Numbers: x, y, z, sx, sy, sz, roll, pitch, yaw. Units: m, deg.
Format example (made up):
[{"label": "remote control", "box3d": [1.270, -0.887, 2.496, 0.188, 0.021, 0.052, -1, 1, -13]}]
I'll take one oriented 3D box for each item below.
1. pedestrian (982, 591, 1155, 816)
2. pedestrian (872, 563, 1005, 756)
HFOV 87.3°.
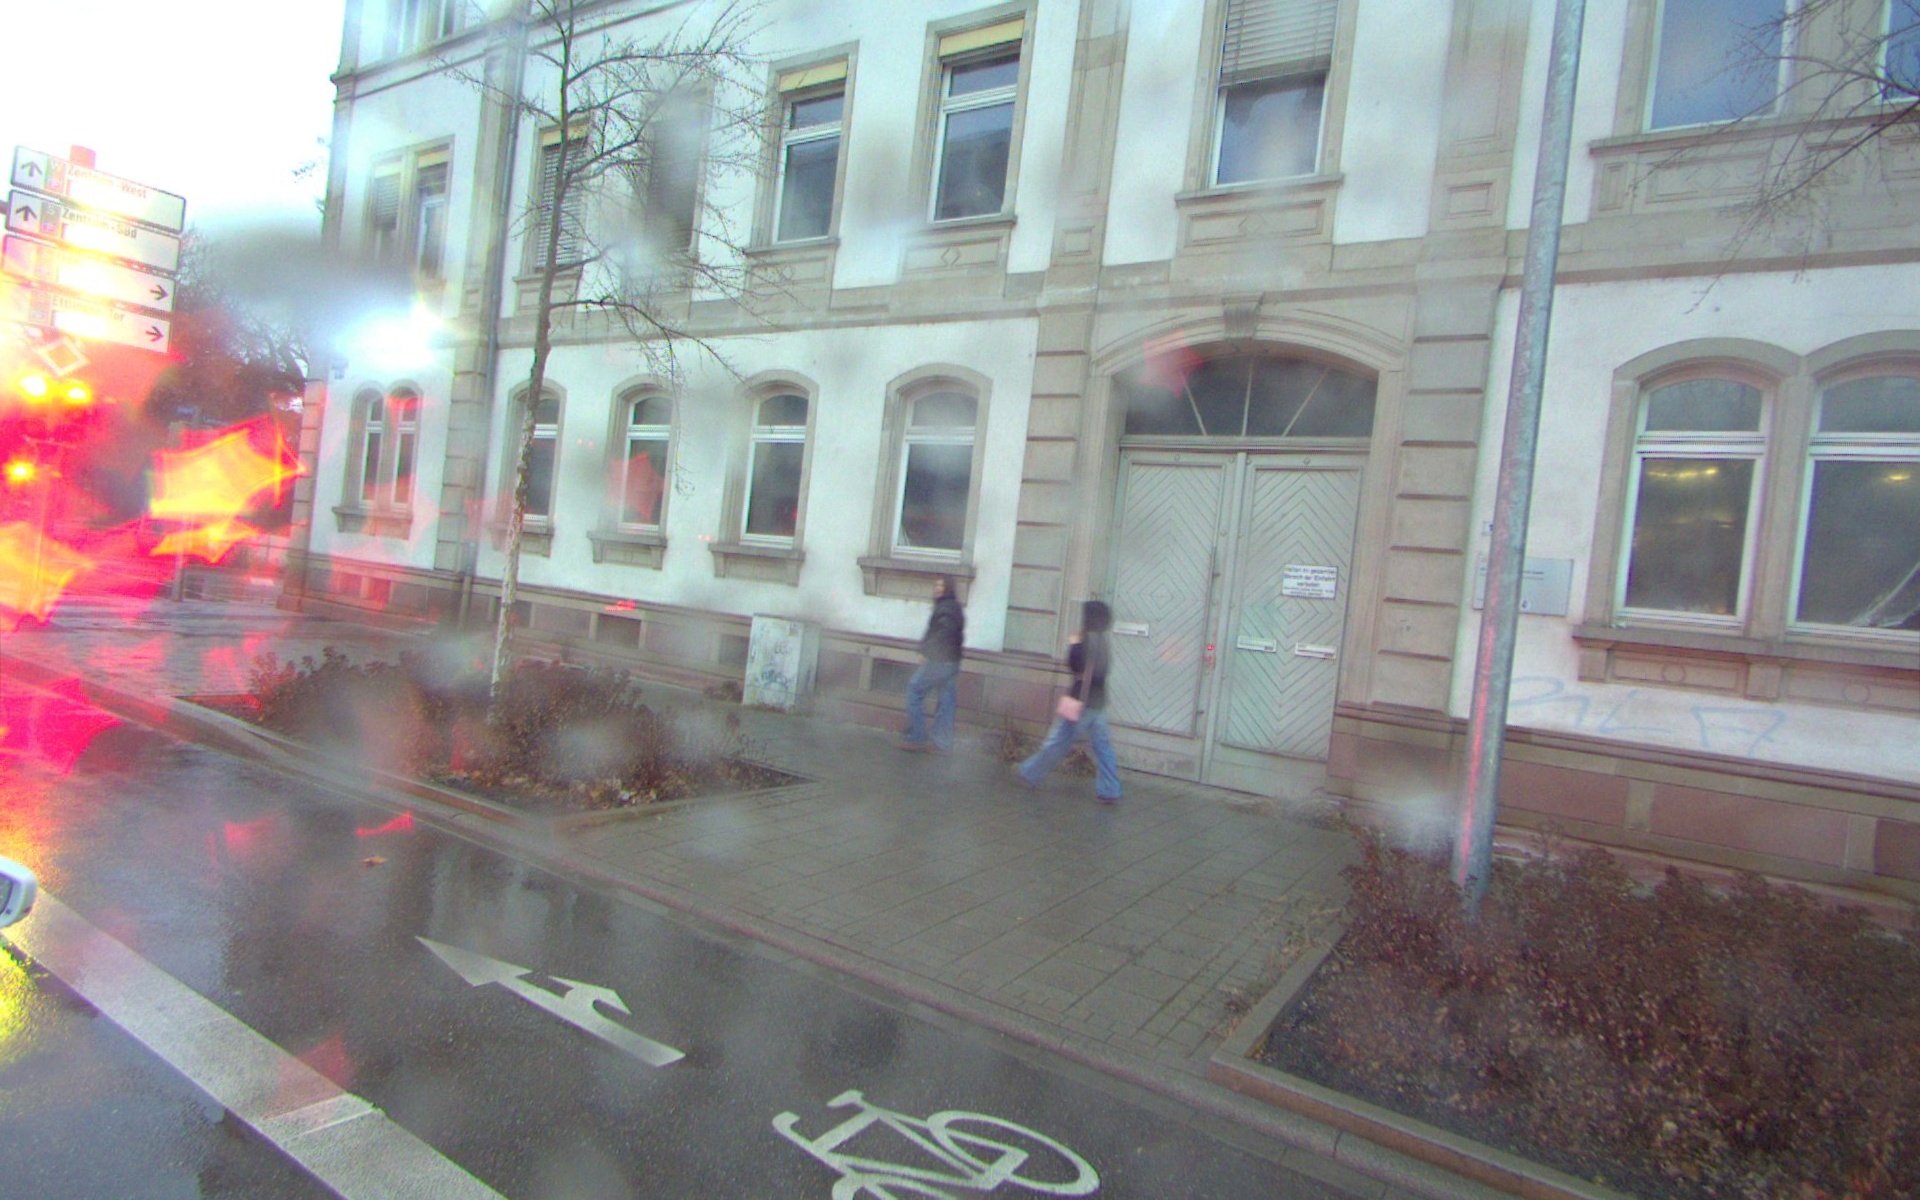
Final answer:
[{"label": "pedestrian", "box3d": [0.870, 0.785, 7.952, 0.914, 1.564, 0.869, 7, 1, 32]}, {"label": "pedestrian", "box3d": [-0.199, 0.557, 9.532, 0.696, 1.694, 0.867, 7, 1, 38]}]
